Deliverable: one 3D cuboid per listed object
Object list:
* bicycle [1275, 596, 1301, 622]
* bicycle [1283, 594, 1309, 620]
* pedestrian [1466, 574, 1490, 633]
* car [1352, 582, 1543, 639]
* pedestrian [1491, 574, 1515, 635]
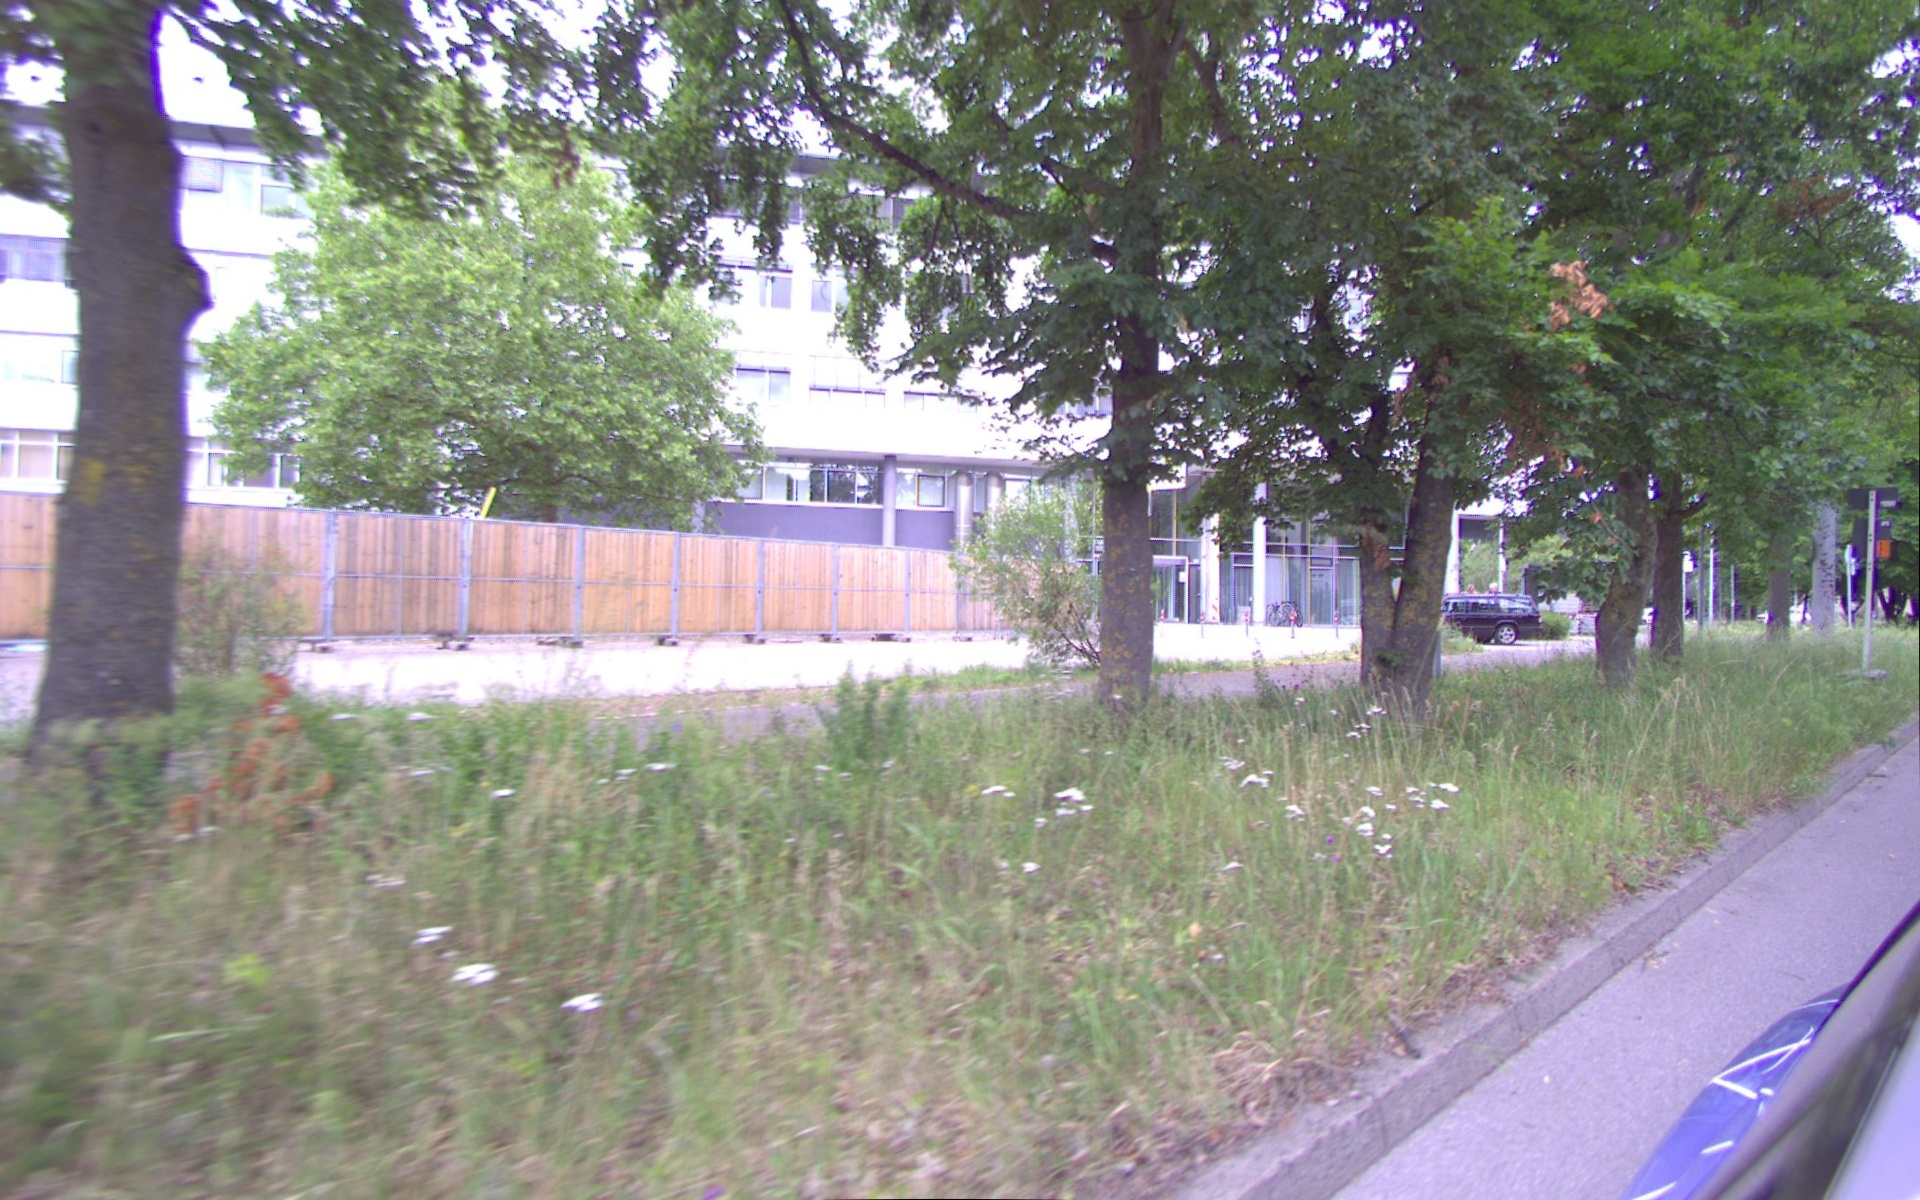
[{"bbox_3d":[13.866,0.367,42.771,0.384,1.086,1.403,-1,-1,-12],"label":"bicycle"},{"bbox_3d":[14.323,0.322,43.191,0.384,1.086,1.403,-1,-1,-12],"label":"bicycle"},{"bbox_3d":[15.687,0.105,30.652,0.492,1.747,0.533,3,-2,19],"label":"pedestrian"},{"bbox_3d":[14.208,0.285,29.732,4.658,1.535,1.869,1,1,5],"label":"car"},{"bbox_3d":[16.399,0.138,30.575,0.469,1.777,0.580,3,-2,19],"label":"pedestrian"}]
